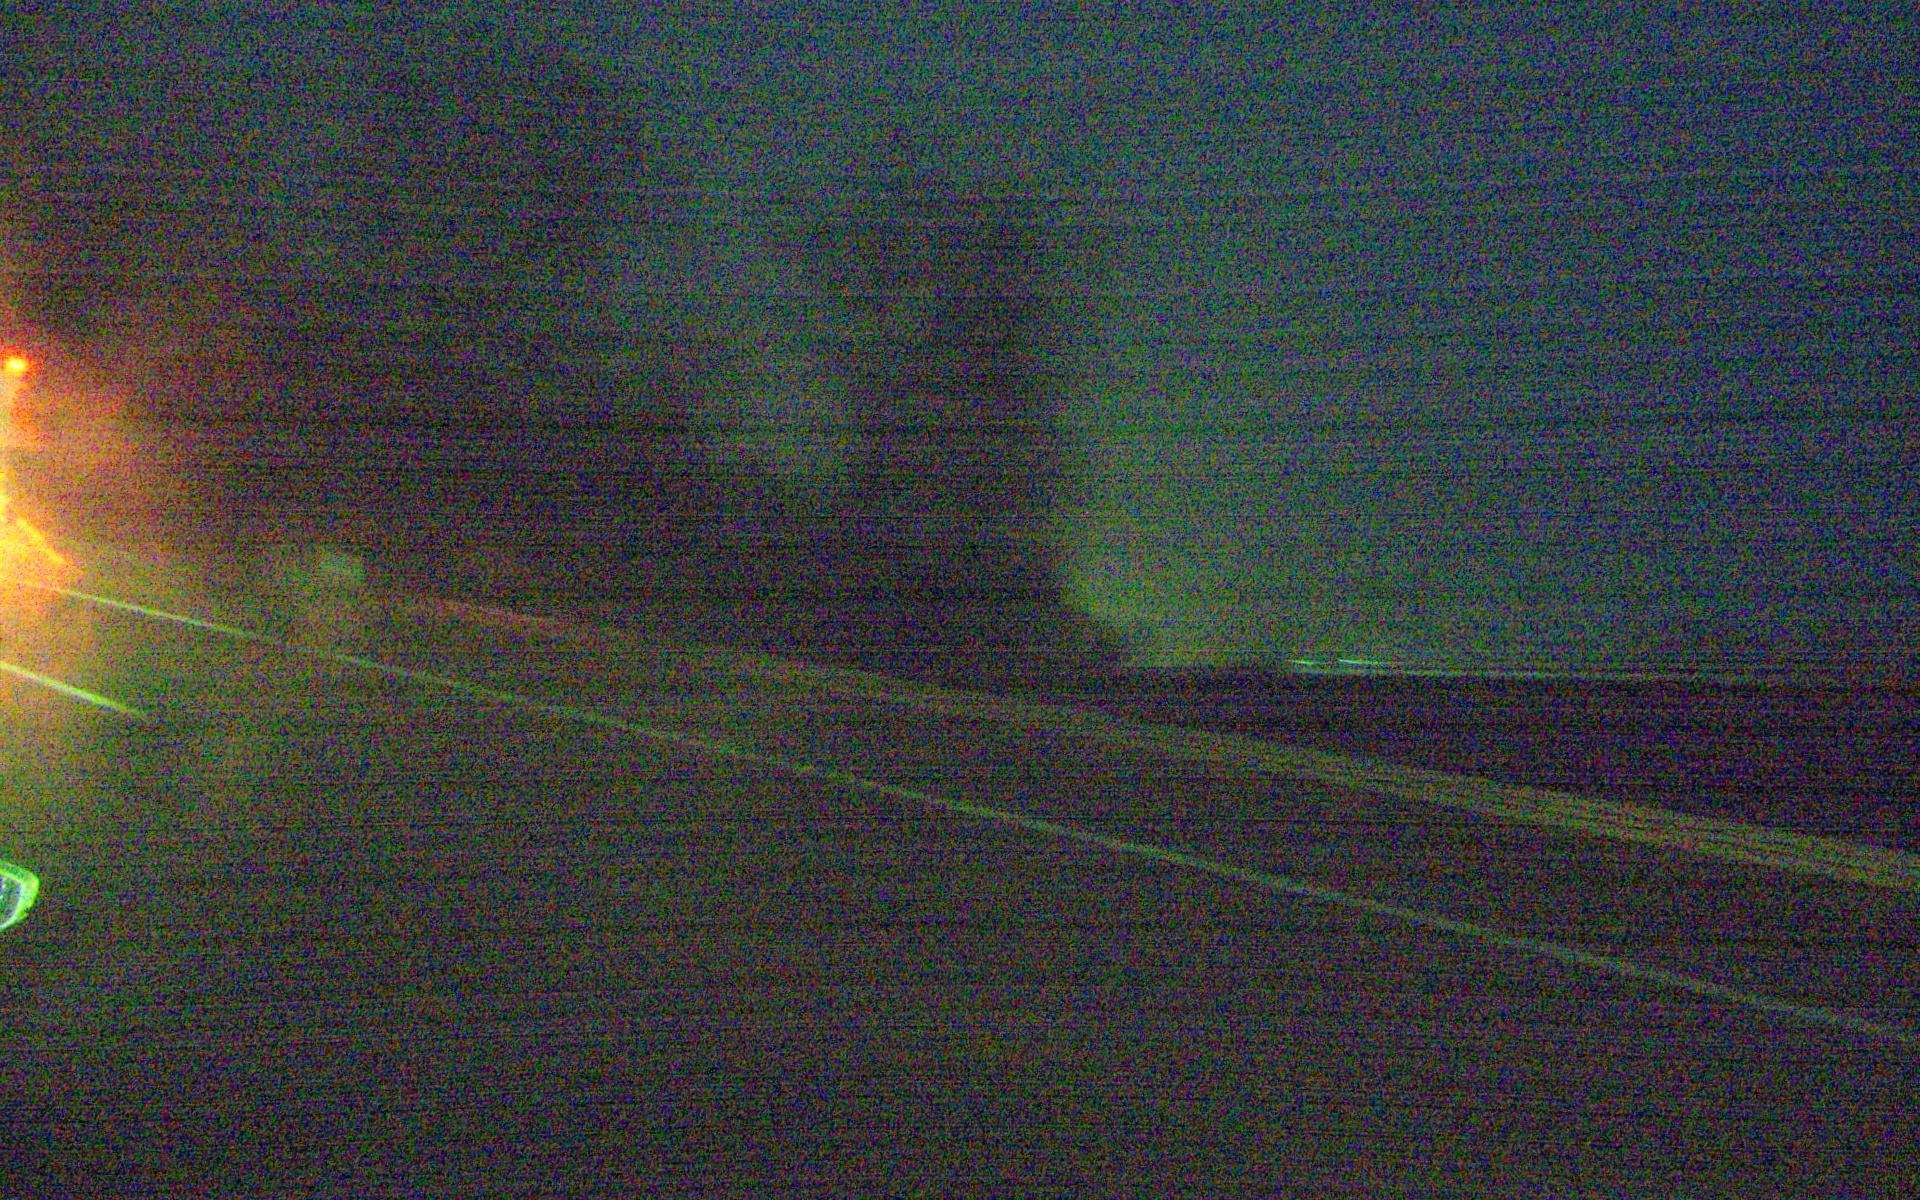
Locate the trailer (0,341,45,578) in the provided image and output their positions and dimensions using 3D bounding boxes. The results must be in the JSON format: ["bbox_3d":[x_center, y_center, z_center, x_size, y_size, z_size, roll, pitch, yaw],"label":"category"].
[{"bbox_3d":[-23.834,-3.326,20.705,13.136,4.302,2.744,7,1,27],"label":"trailer"}]
